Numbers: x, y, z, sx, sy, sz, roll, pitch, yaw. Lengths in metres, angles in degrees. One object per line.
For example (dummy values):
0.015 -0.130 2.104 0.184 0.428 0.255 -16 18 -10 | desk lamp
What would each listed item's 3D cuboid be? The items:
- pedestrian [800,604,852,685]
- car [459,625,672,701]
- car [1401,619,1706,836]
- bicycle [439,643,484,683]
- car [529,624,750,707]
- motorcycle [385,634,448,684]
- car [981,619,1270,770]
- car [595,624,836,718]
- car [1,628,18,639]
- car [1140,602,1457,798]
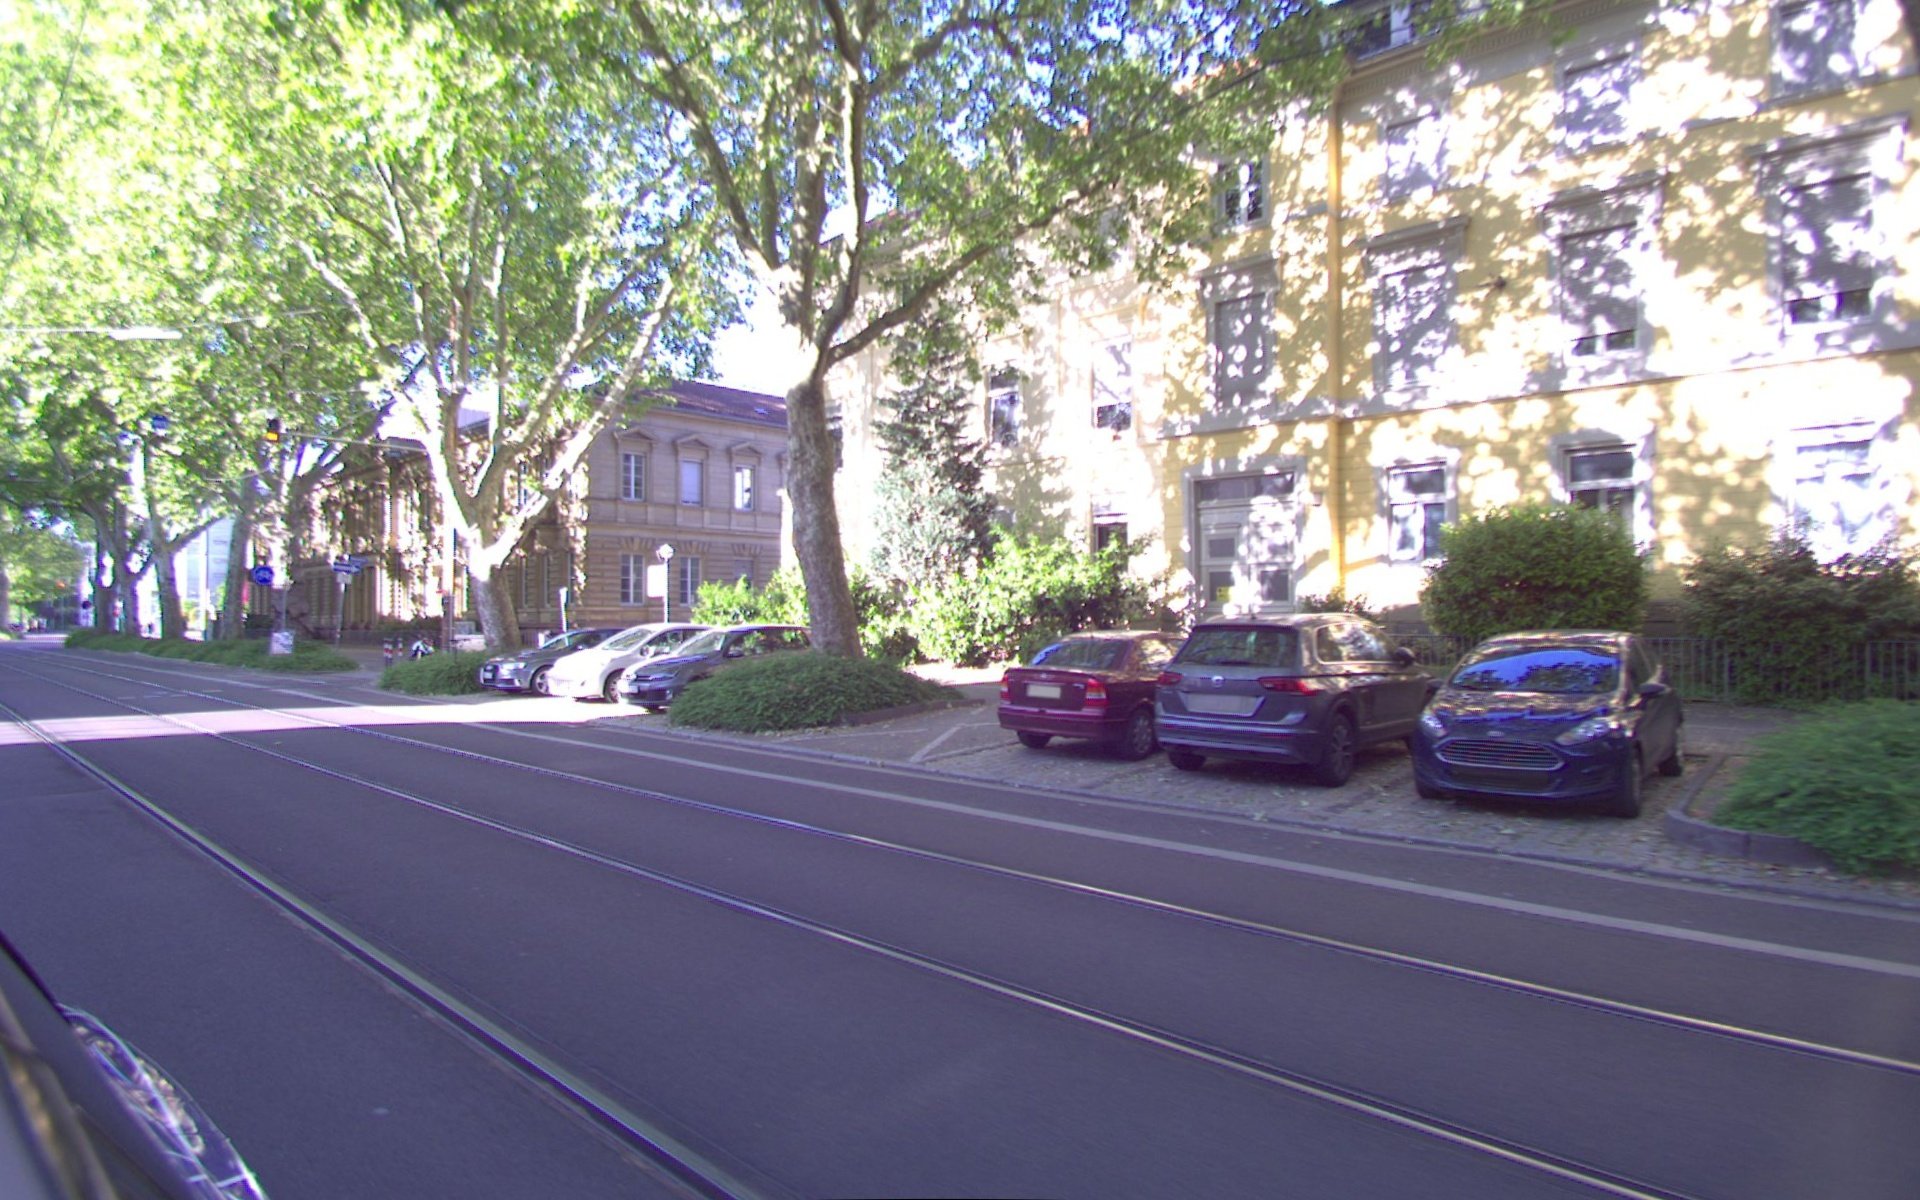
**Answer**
-3.132 1.021 23.635 0.835 1.863 0.858 -1 -1 34 | pedestrian
-8.415 1.290 21.816 1.847 1.342 3.878 -1 0 42 | car
5.602 0.953 9.314 1.817 1.432 3.881 -1 0 40 | car
-12.706 1.583 25.764 0.534 0.948 2.037 0 -1 -41 | bicycle
-6.321 1.223 20.265 1.799 1.464 3.880 -1 -1 41 | car
-13.433 1.424 24.957 0.873 1.156 2.394 0 -1 -41 | motorcycle
2.189 1.029 12.596 1.748 1.452 3.879 -1 0 41 | car
-4.287 1.183 18.160 1.805 1.473 3.878 -1 -2 41 | car
-143.329 5.026 152.593 1.845 1.642 4.563 1 -3 -44 | car
3.798 0.887 10.946 1.878 1.639 3.953 -1 0 41 | car
